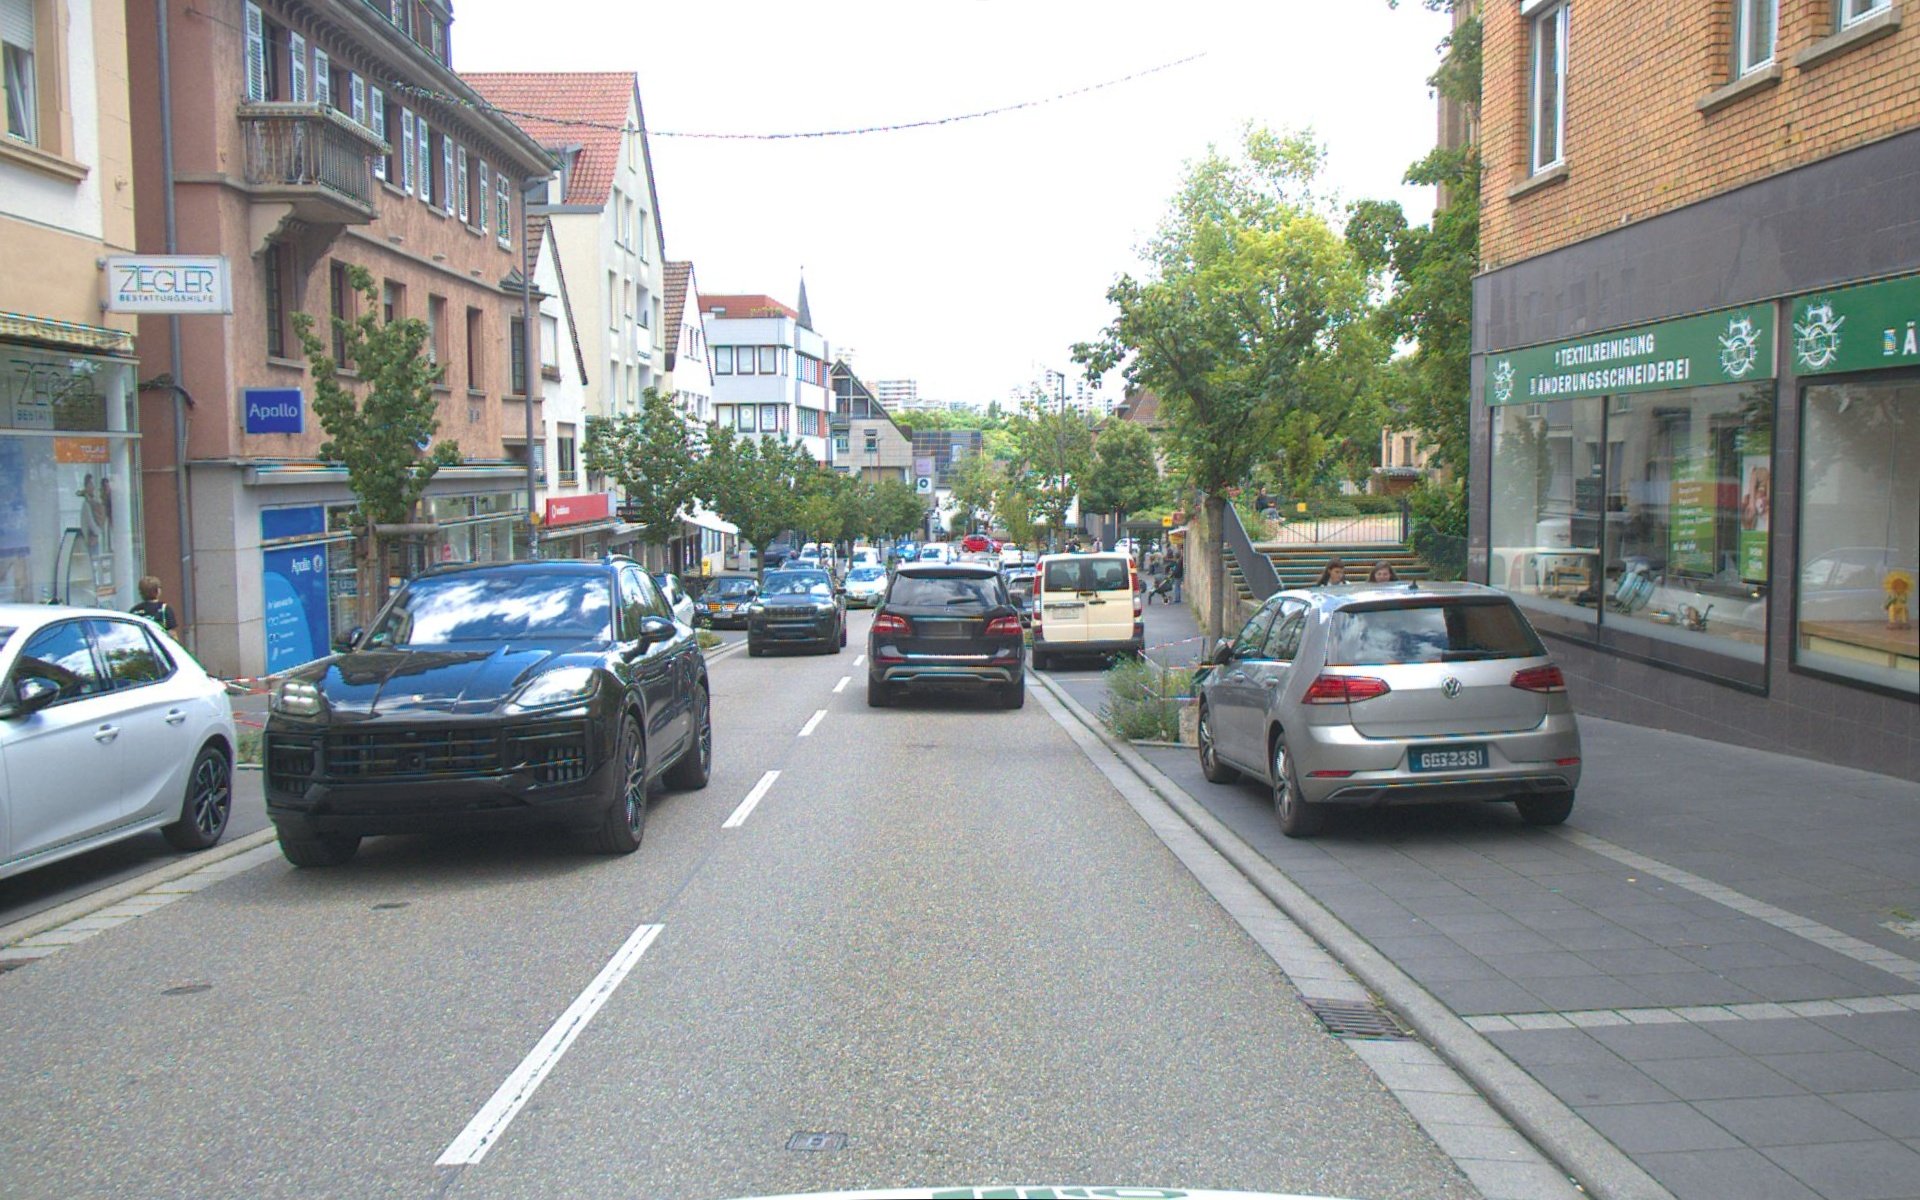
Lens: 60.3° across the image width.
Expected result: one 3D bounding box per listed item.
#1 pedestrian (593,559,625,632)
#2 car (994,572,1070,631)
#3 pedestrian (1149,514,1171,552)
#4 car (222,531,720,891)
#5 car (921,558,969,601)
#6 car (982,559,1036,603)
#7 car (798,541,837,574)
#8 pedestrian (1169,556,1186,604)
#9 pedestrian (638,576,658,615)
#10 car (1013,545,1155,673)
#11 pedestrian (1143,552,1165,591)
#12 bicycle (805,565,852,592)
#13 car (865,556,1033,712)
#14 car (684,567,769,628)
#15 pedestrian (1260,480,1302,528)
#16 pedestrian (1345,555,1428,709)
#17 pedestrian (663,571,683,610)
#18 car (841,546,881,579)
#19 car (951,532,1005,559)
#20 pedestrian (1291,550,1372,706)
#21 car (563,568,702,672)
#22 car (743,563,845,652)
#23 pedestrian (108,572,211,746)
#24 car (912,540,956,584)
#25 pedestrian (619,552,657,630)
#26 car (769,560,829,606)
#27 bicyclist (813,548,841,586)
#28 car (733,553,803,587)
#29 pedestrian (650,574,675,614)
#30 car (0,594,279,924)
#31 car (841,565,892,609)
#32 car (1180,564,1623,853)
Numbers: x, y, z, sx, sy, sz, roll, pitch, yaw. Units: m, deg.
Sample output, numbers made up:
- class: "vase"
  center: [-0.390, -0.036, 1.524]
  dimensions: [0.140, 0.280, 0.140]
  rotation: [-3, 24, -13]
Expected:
- class: "pedestrian"
  center: [-8.264, -0.110, 38.973]
  dimensions: [0.628, 1.696, 0.720]
  rotation: [0, 1, -2]
- class: "car"
  center: [1.961, 0.001, 46.272]
  dimensions: [1.898, 1.482, 4.707]
  rotation: [-1, 2, 0]
- class: "pedestrian"
  center: [11.830, -3.934, 97.878]
  dimensions: [0.990, 2.188, 1.068]
  rotation: [-2, 1, 17]
- class: "car"
  center: [-2.800, 0.529, 10.620]
  dimensions: [1.952, 1.748, 4.445]
  rotation: [-2, 1, -2]
- class: "car"
  center: [-0.625, -0.867, 68.959]
  dimensions: [1.887, 1.656, 4.262]
  rotation: [2, 2, -1]
- class: "car"
  center: [1.838, -0.744, 63.239]
  dimensions: [1.898, 1.571, 4.707]
  rotation: [-1, 2, 0]
- class: "car"
  center: [-7.700, -2.317, 89.859]
  dimensions: [1.888, 1.656, 4.413]
  rotation: [2, 2, -3]
- class: "pedestrian"
  center: [7.479, -0.689, 56.957]
  dimensions: [0.556, 1.614, 0.666]
  rotation: [-1, 1, 7]
- class: "pedestrian"
  center: [-10.524, -0.155, 55.846]
  dimensions: [0.553, 1.304, 0.758]
  rotation: [0, 1, -2]
- class: "car"
  center: [2.039, 0.078, 28.494]
  dimensions: [1.899, 1.924, 4.706]
  rotation: [-3, 2, -2]
- class: "pedestrian"
  center: [9.926, -1.456, 84.522]
  dimensions: [1.027, 1.946, 0.937]
  rotation: [-3, 1, 6]
- class: "bicycle"
  center: [-5.834, -0.950, 73.530]
  dimensions: [1.934, 1.076, 0.706]
  rotation: [-3, 1, -28]
- class: "car"
  center: [-0.144, 0.339, 21.068]
  dimensions: [1.904, 1.770, 4.179]
  rotation: [1, 1, -1]
- class: "car"
  center: [-6.459, -0.096, 46.138]
  dimensions: [1.888, 1.522, 4.261]
  rotation: [2, 2, -2]
- class: "pedestrian"
  center: [8.688, -2.594, 44.804]
  dimensions: [0.970, 1.252, 0.984]
  rotation: [0, 1, 1]
- class: "pedestrian"
  center: [4.761, 0.346, 18.495]
  dimensions: [0.658, 1.661, 0.669]
  rotation: [-3, 1, -3]
- class: "pedestrian"
  center: [-9.706, -0.329, 55.939]
  dimensions: [0.553, 1.304, 0.758]
  rotation: [0, 1, -2]
- class: "car"
  center: [-5.182, -1.976, 86.945]
  dimensions: [1.887, 1.656, 4.262]
  rotation: [2, 2, -1]
- class: "car"
  center: [1.454, -4.390, 134.396]
  dimensions: [4.110, 2.065, 1.783]
  rotation: [0, 1, 33]
- class: "pedestrian"
  center: [4.091, 0.294, 18.248]
  dimensions: [0.658, 1.661, 0.669]
  rotation: [-3, 1, -3]
- class: "car"
  center: [-5.803, 0.291, 29.790]
  dimensions: [1.888, 1.623, 4.455]
  rotation: [2, 2, -4]
- class: "car"
  center: [-3.244, 0.116, 32.983]
  dimensions: [1.729, 1.645, 4.031]
  rotation: [0, 1, -2]
- class: "pedestrian"
  center: [-7.687, 0.548, 15.917]
  dimensions: [0.536, 1.603, 0.863]
  rotation: [-2, 1, -2]
- class: "car"
  center: [-1.445, -2.147, 93.895]
  dimensions: [2.128, 2.405, 4.625]
  rotation: [-1, 1, 3]
- class: "pedestrian"
  center: [-7.086, -0.202, 36.369]
  dimensions: [0.712, 1.696, 0.720]
  rotation: [0, 1, -2]
- class: "car"
  center: [-6.050, -0.663, 62.646]
  dimensions: [1.887, 1.657, 4.262]
  rotation: [0, 2, -1]
- class: "bicyclist"
  center: [-5.909, -1.453, 73.483]
  dimensions: [0.952, 1.637, 0.724]
  rotation: [-3, 1, -28]
- class: "car"
  center: [-11.271, -1.760, 97.195]
  dimensions: [3.909, 1.780, 1.998]
  rotation: [-3, 1, -5]
- class: "pedestrian"
  center: [-9.793, -0.200, 54.472]
  dimensions: [0.673, 1.304, 0.676]
  rotation: [-1, 1, -2]
- class: "car"
  center: [-5.345, 0.735, 8.549]
  dimensions: [1.887, 1.455, 4.262]
  rotation: [0, 1, 0]
- class: "car"
  center: [-3.417, -0.497, 61.019]
  dimensions: [1.776, 1.534, 3.999]
  rotation: [-1, 1, -2]
- class: "car"
  center: [2.700, 0.564, 11.112]
  dimensions: [1.713, 1.491, 4.073]
  rotation: [-3, 1, -2]
